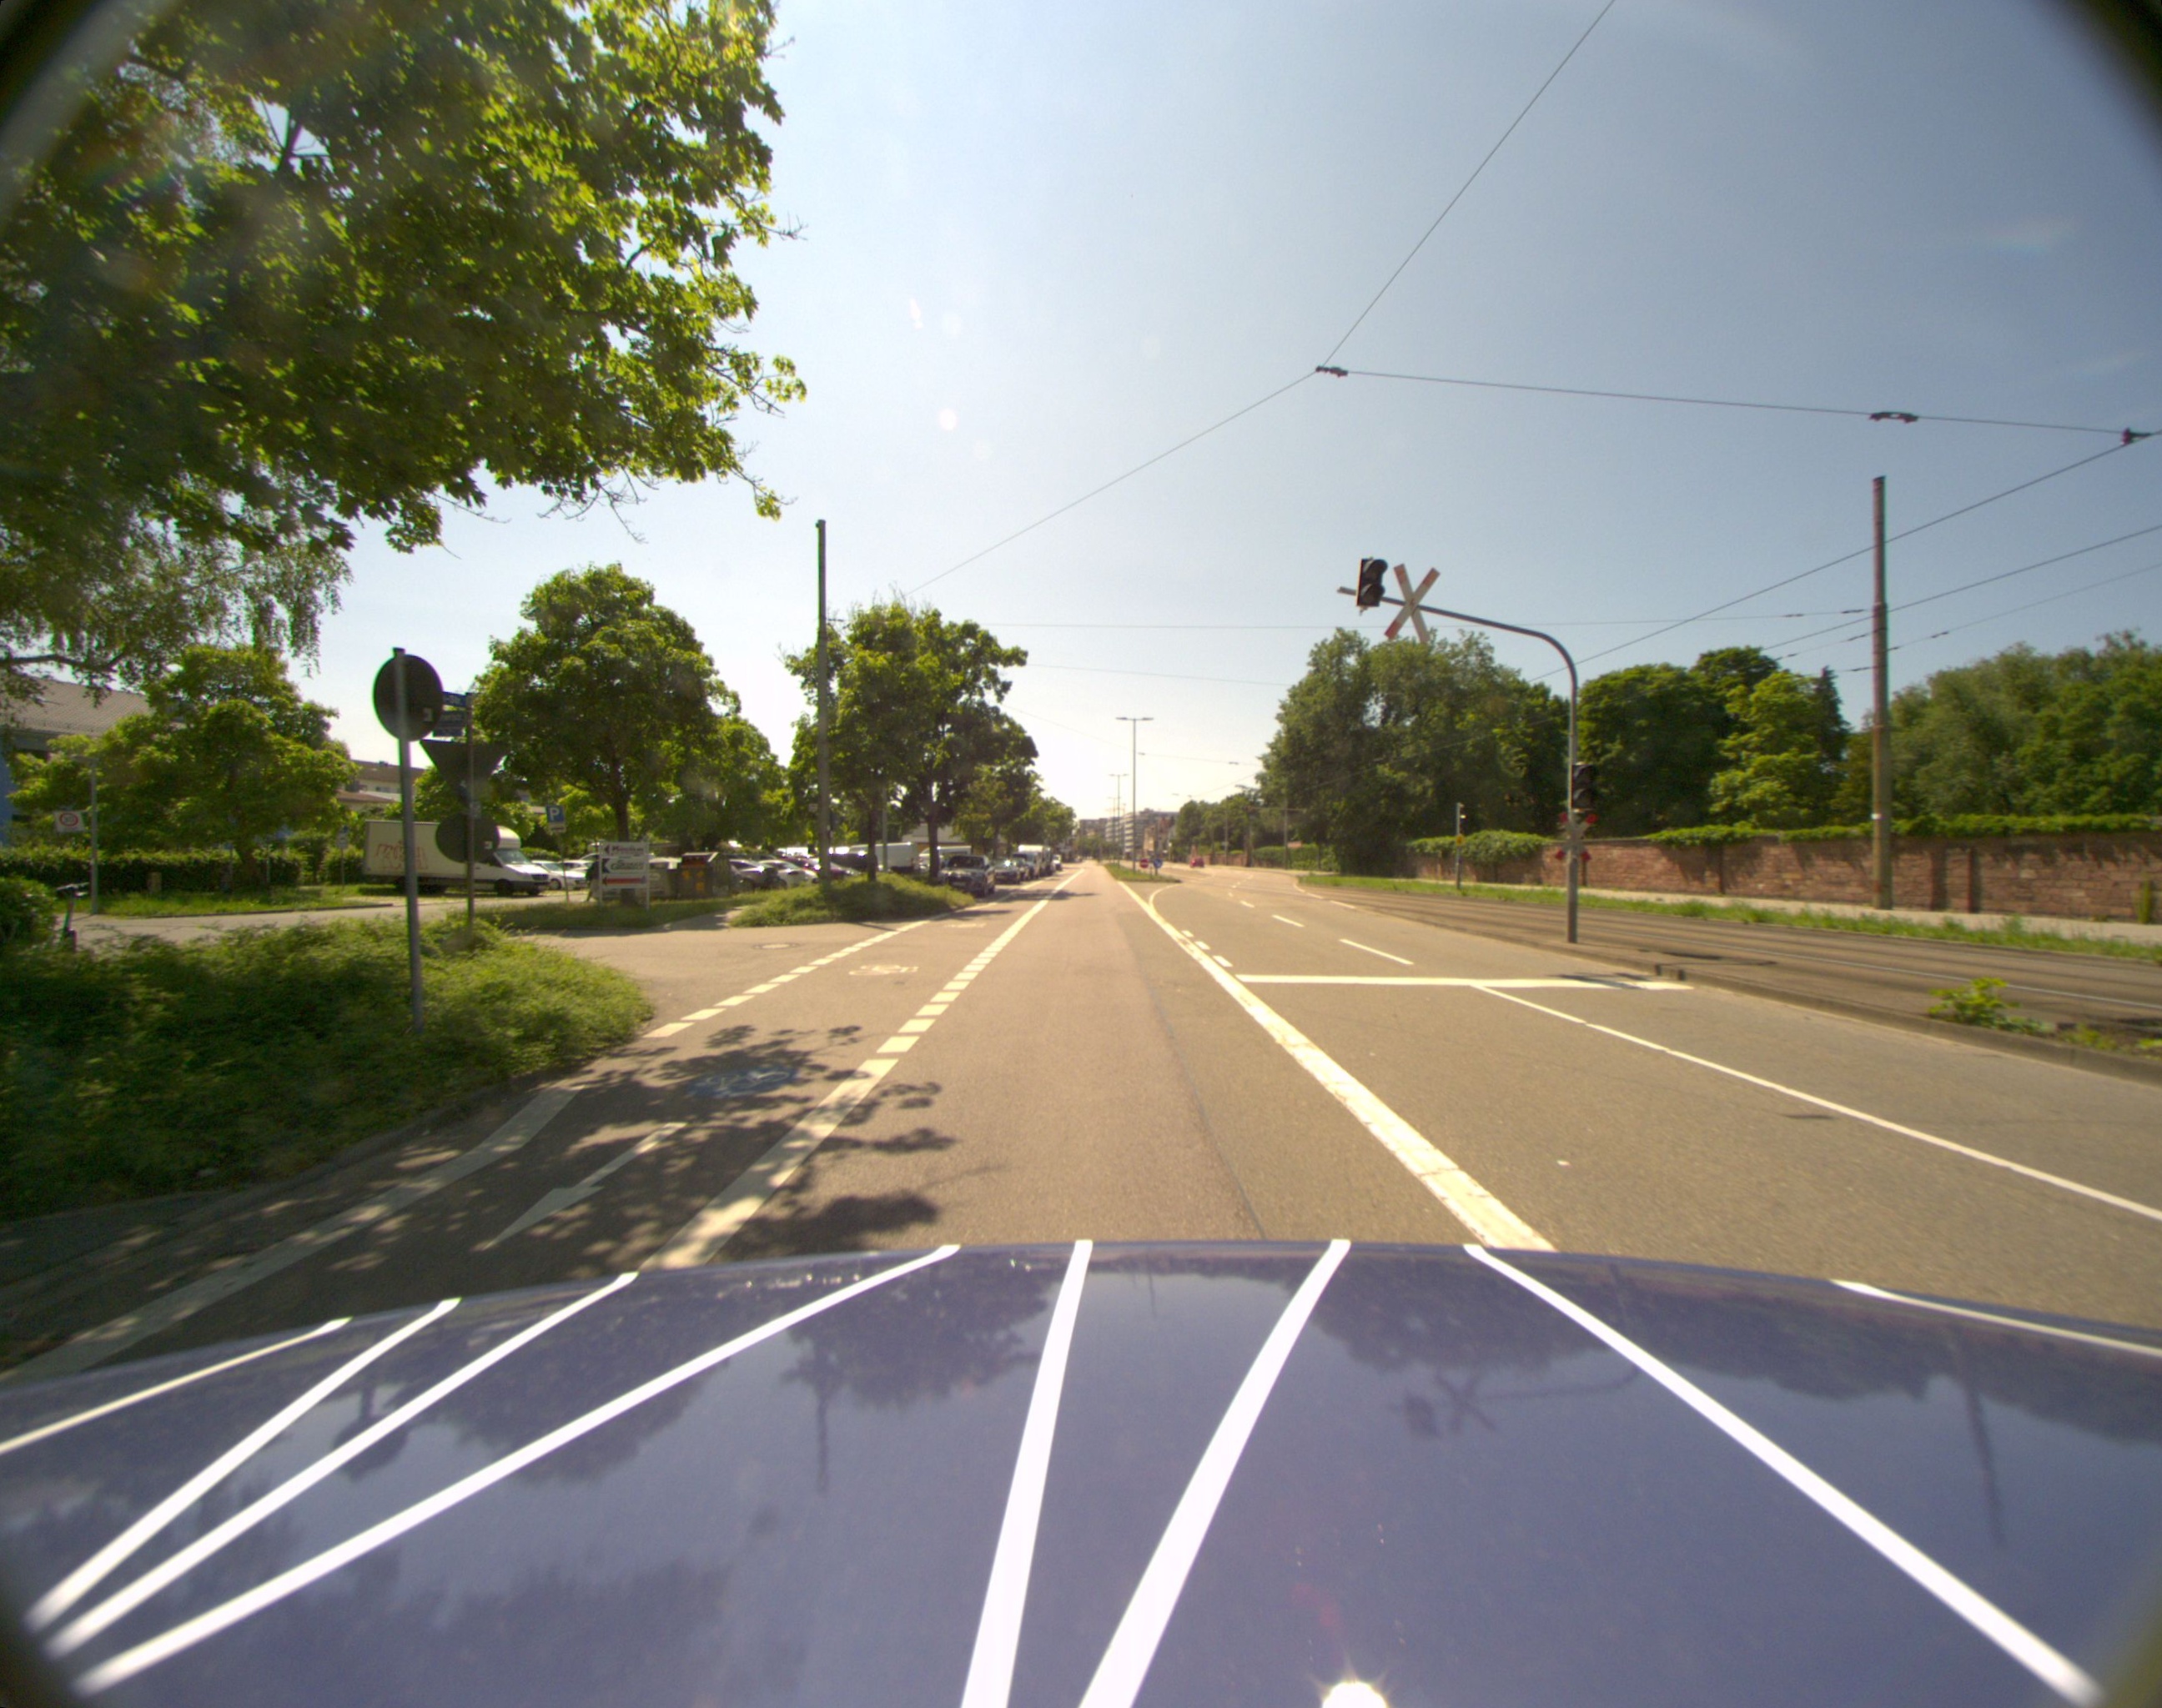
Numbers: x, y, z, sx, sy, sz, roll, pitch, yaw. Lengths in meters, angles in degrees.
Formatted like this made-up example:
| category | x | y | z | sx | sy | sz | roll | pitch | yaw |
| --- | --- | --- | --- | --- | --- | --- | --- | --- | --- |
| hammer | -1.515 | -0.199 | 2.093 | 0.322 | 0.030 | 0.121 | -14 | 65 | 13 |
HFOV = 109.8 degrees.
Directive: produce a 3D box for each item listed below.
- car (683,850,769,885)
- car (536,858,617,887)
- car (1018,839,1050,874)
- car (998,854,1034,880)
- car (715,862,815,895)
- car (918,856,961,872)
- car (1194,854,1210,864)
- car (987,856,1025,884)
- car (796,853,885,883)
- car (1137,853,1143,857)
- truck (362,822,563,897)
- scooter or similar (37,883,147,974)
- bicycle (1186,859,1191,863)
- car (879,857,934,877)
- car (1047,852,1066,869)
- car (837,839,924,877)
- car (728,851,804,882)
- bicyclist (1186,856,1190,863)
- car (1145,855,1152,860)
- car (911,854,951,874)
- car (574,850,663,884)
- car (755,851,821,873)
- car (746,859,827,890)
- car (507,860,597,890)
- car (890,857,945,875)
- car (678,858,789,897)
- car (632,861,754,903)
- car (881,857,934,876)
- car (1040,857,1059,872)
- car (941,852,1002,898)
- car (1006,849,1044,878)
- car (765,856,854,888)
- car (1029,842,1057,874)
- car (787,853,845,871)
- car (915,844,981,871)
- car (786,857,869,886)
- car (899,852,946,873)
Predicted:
| category | x | y | z | sx | sy | sz | roll | pitch | yaw |
| --- | --- | --- | --- | --- | --- | --- | --- | --- | --- |
| car | -26.842 | 0.984 | 57.598 | 5.503 | 2.445 | 2.095 | 2 | 0 | 2 |
| car | -27.625 | 1.000 | 41.658 | 3.342 | 1.420 | 1.682 | 2 | 0 | 3 |
| car | -3.698 | 0.188 | 61.038 | 2.002 | 2.621 | 6.143 | 2 | 0 | 1 |
| car | -4.114 | 0.787 | 48.389 | 1.716 | 1.532 | 3.841 | 2 | 0 | 3 |
| car | -14.626 | 1.124 | 35.333 | 3.869 | 1.350 | 1.770 | -2 | 0 | 2 |
| car | -14.057 | 0.972 | 75.740 | 3.896 | 1.463 | 1.727 | -2 | 0 | -1 |
| car | 17.477 | 0.746 | 109.940 | 1.708 | 1.405 | 4.287 | 0 | 0 | 16 |
| car | -4.215 | 0.875 | 43.256 | 1.717 | 1.410 | 4.708 | 2 | 0 | -1 |
| car | -14.515 | 0.815 | 46.099 | 4.703 | 1.635 | 1.954 | -2 | 0 | 2 |
| car | 20.511 | 0.284 | 264.517 | 1.845 | 1.408 | 4.711 | -3 | 0 | 1 |
| truck | -27.455 | 0.226 | 33.919 | 6.964 | 3.067 | 2.424 | 2 | 0 | 0 |
| scooter or similar | -14.682 | 1.085 | 11.284 | 1.186 | 1.263 | 0.602 | 0 | 0 | 17 |
| bicycle | 22.041 | 1.429 | 156.287 | 0.654 | 0.951 | 2.114 | 0 | 0 | -1 |
| car | -13.718 | 1.048 | 59.872 | 3.897 | 1.397 | 1.727 | -2 | 0 | -4 |
| car | -2.934 | 0.777 | 90.549 | 1.884 | 1.905 | 5.125 | 2 | 0 | 2 |
| car | -14.179 | 0.283 | 53.926 | 5.503 | 2.445 | 2.095 | -2 | 0 | 2 |
| car | -26.297 | 1.019 | 63.557 | 5.503 | 2.445 | 2.095 | 2 | 0 | 2 |
| bicyclist | 22.025 | 1.072 | 156.312 | 0.654 | 1.488 | 0.662 | 0 | 0 | -1 |
| car | 20.253 | 1.177 | 228.331 | 1.845 | 1.408 | 5.034 | -3 | 0 | 1 |
| car | -14.458 | 0.958 | 73.308 | 3.380 | 1.707 | 1.728 | -2 | 0 | 1 |
| car | -26.695 | 0.733 | 43.968 | 4.010 | 1.797 | 1.753 | 2 | 0 | -2 |
| car | -26.438 | 0.710 | 68.578 | 5.108 | 1.865 | 2.095 | 2 | 0 | 2 |
| car | -14.720 | 1.007 | 38.100 | 3.342 | 1.420 | 1.682 | -2 | 0 | 2 |
| car | -27.132 | 1.060 | 39.037 | 3.473 | 1.420 | 1.682 | 2 | 0 | 3 |
| car | -13.958 | 1.020 | 64.866 | 4.287 | 1.397 | 1.727 | -2 | 0 | -1 |
| car | -14.808 | 0.974 | 32.493 | 3.870 | 1.481 | 1.770 | -2 | 0 | -1 |
| car | -15.314 | 1.081 | 30.148 | 3.870 | 1.481 | 1.770 | -2 | 0 | -1 |
| car | -14.131 | 1.038 | 62.147 | 3.896 | 1.397 | 1.727 | -2 | 0 | -1 |
| car | -3.262 | 1.054 | 79.013 | 1.726 | 1.419 | 4.209 | 2 | 0 | 1 |
| car | -4.407 | 0.784 | 31.194 | 1.716 | 1.623 | 4.708 | 2 | 1 | 1 |
| car | -3.916 | 0.635 | 54.103 | 2.002 | 1.867 | 5.277 | 2 | 0 | 3 |
| car | -14.444 | 0.935 | 40.530 | 4.031 | 1.482 | 1.770 | -2 | 0 | -1 |
| car | -3.333 | 0.363 | 67.784 | 2.002 | 2.621 | 6.079 | 2 | 0 | 1 |
| car | -27.539 | 0.808 | 79.031 | 5.166 | 1.742 | 2.095 | 2 | 0 | 2 |
| car | -13.708 | 0.323 | 78.577 | 6.355 | 2.514 | 2.264 | -2 | 0 | 4 |
| car | -14.311 | 0.965 | 43.029 | 4.031 | 1.482 | 1.770 | -2 | 0 | -1 |
| car | -14.136 | 0.763 | 68.001 | 3.790 | 1.773 | 1.954 | -2 | 0 | -3 |
